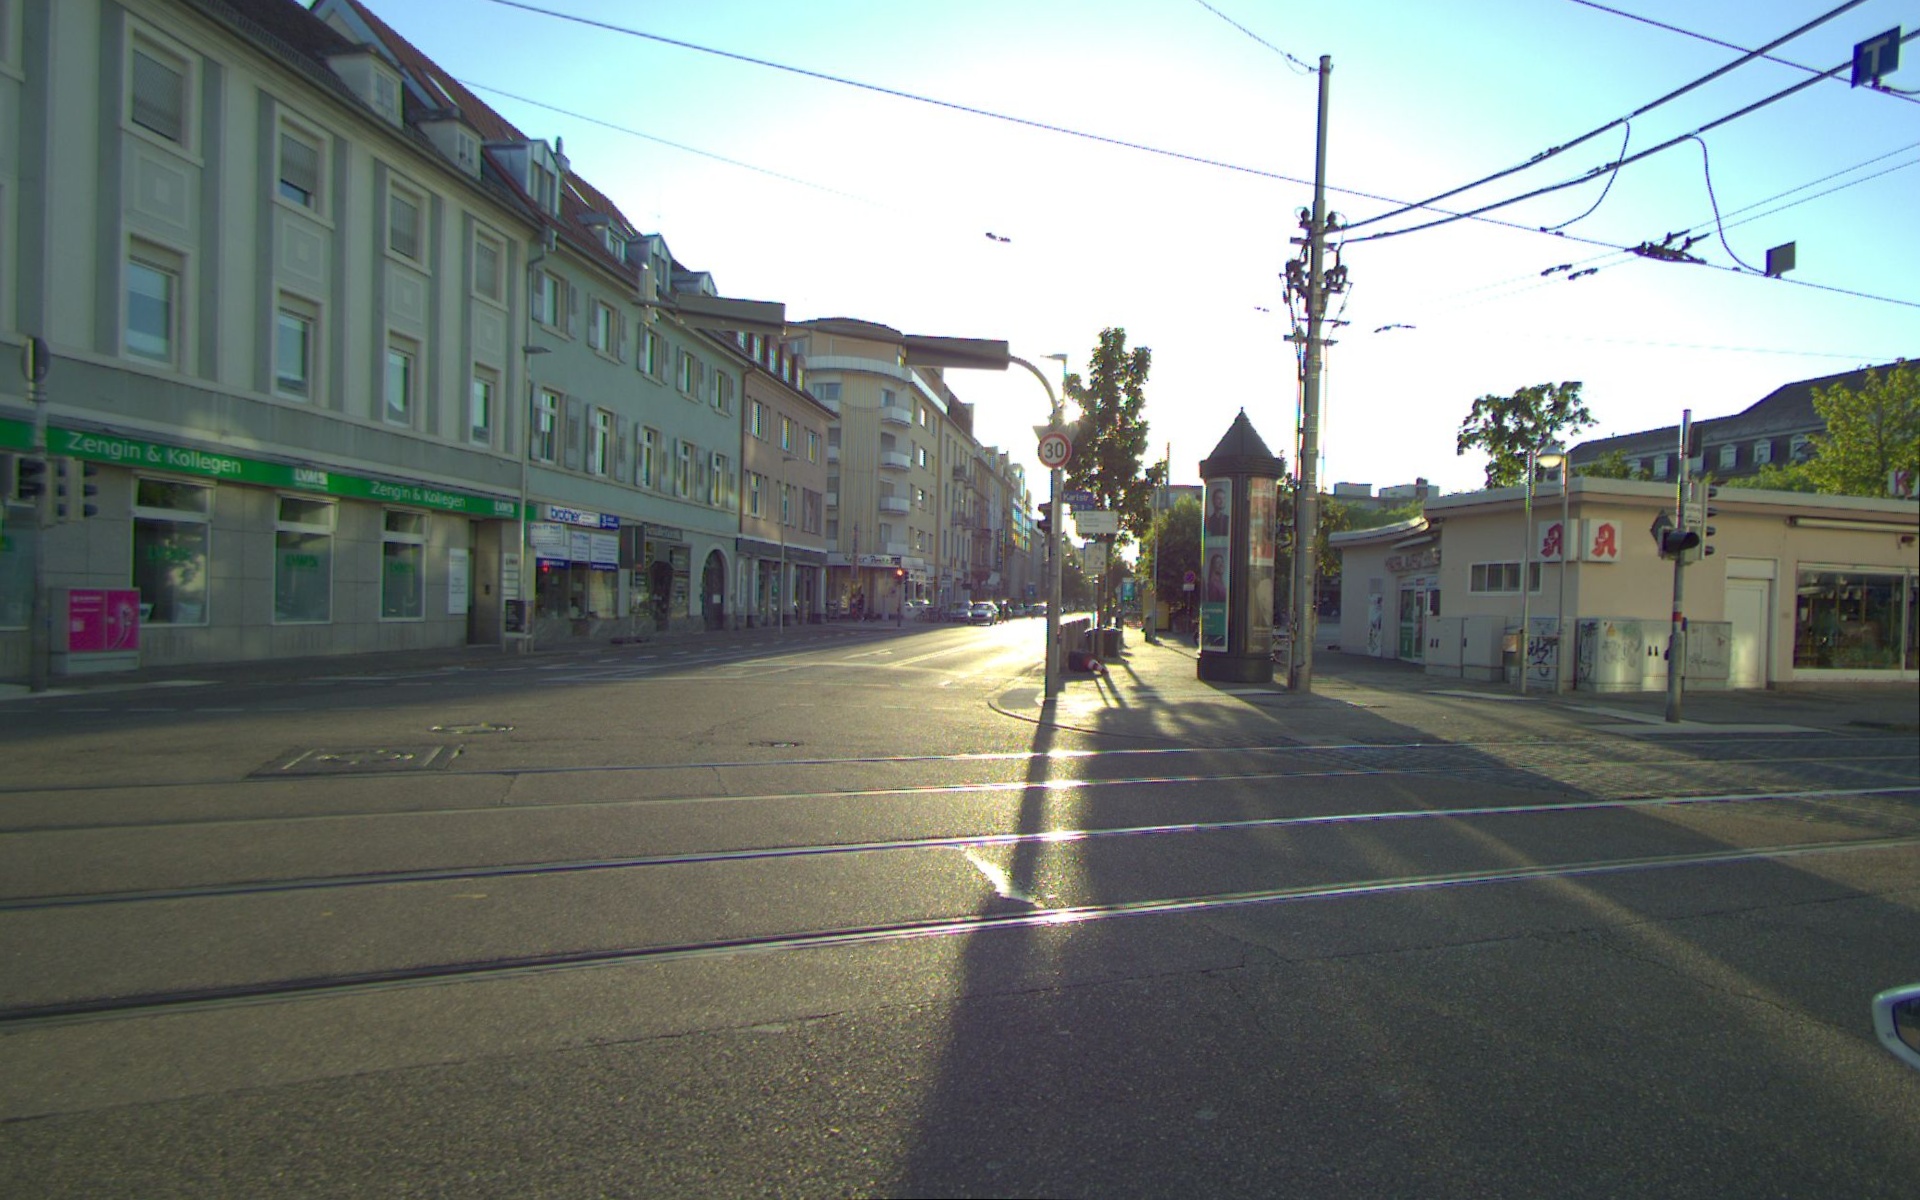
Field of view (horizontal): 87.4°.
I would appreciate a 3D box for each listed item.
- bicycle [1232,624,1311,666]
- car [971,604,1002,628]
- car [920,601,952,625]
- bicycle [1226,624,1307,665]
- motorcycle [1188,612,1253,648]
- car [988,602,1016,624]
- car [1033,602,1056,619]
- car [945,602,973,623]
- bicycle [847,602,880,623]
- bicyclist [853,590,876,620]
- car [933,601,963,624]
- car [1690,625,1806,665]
[{"bbox_3d":[8.358,1.192,26.986,1.986,1.058,0.560,1,-1,18],"label":"bicycle"},{"bbox_3d":[1.770,1.038,65.727,1.518,1.487,3.354,2,-1,9],"label":"car"},{"bbox_3d":[-1.590,0.856,67.140,1.518,1.503,3.354,1,0,9],"label":"car"},{"bbox_3d":[8.549,1.228,28.023,2.111,1.057,0.560,1,-1,18],"label":"bicycle"},{"bbox_3d":[9.277,1.062,35.838,2.197,1.217,0.720,1,0,15],"label":"motorcycle"},{"bbox_3d":[3.379,1.060,79.337,1.698,1.608,3.919,3,-1,9],"label":"car"},{"bbox_3d":[9.138,1.130,108.099,1.959,1.706,4.002,1,0,12],"label":"car"},{"bbox_3d":[-0.079,0.951,75.634,1.518,1.488,3.354,2,-1,9],"label":"car"},{"bbox_3d":[-5.999,0.769,62.419,2.085,1.220,0.500,3,0,27],"label":"bicycle"},{"bbox_3d":[-5.904,0.317,62.357,1.112,1.814,0.764,3,0,27],"label":"bicyclist"},{"bbox_3d":[-0.792,0.894,70.701,1.518,1.488,3.354,2,-1,9],"label":"car"},{"bbox_3d":[37.095,2.134,47.305,4.601,1.586,1.799,3,-1,-14],"label":"car"}]
